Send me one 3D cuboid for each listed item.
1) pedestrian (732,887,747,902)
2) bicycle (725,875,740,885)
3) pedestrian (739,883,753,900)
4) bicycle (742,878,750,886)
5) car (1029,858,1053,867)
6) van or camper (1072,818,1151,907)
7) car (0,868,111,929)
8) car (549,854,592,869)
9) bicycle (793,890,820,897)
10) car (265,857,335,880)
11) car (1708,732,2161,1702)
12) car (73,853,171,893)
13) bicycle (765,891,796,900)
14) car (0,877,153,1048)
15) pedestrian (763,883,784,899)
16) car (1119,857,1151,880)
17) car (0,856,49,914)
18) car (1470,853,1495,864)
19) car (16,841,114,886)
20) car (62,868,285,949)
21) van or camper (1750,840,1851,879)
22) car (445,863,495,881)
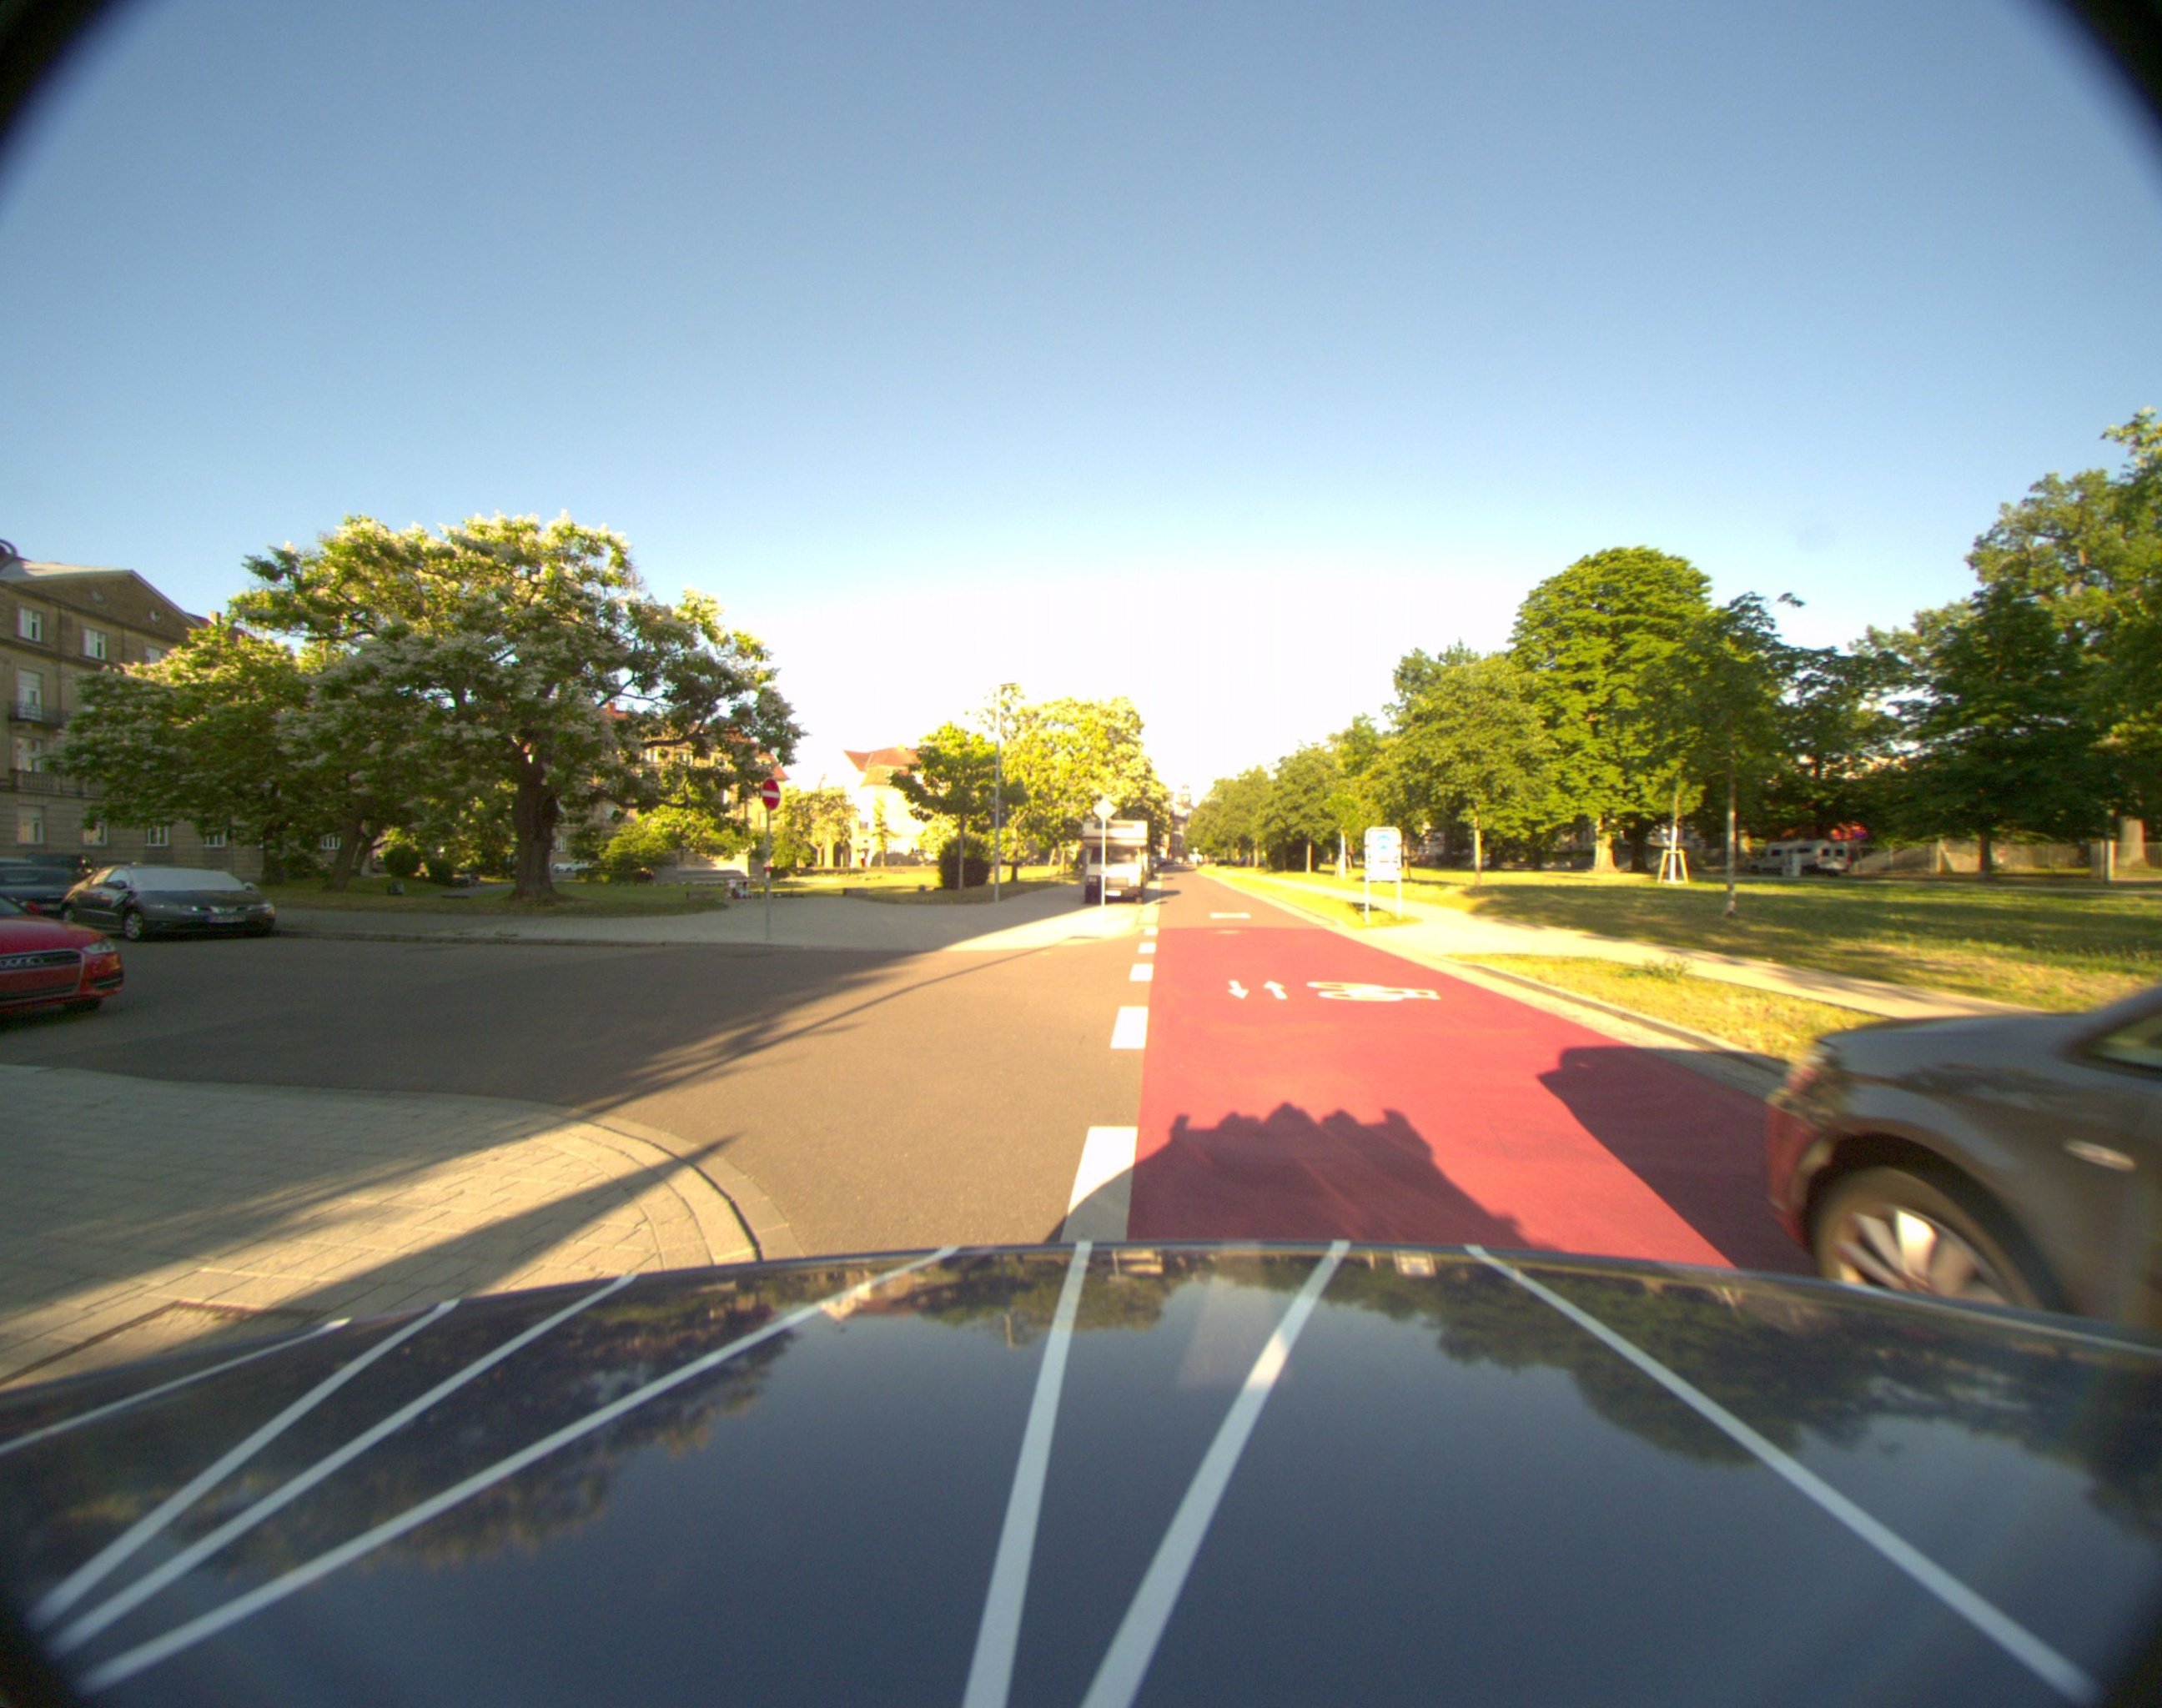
[{"bbox_3d":[-16.488,1.956,36.739,0.498,0.742,0.455,-1,0,2],"label":"pedestrian"},{"bbox_3d":[-25.994,1.936,56.681,0.907,0.648,0.438,-1,0,-33],"label":"bicycle"},{"bbox_3d":[-17.215,1.925,39.027,0.453,0.830,0.499,-1,0,39],"label":"pedestrian"},{"bbox_3d":[-25.223,2.082,57.183,0.488,0.579,0.438,-1,0,-33],"label":"bicycle"},{"bbox_3d":[-6.792,1.483,128.479,3.705,1.490,1.724,-1,0,-12],"label":"car"},{"bbox_3d":[1.236,0.257,27.293,2.426,2.766,5.954,2,1,5],"label":"van or camper"},{"bbox_3d":[-24.339,0.989,17.515,3.695,1.289,1.730,-1,-2,26],"label":"car"},{"bbox_3d":[-55.414,0.837,82.495,1.723,1.489,3.709,-1,-2,13],"label":"car"},{"bbox_3d":[-15.466,2.211,42.832,0.658,0.317,1.704,0,0,9],"label":"bicycle"},{"bbox_3d":[-53.332,1.025,51.988,1.727,1.489,3.700,0,-2,-16],"label":"car"},{"bbox_3d":[2.877,0.713,0.229,1.847,1.837,4.574,1,1,5],"label":"car"},{"bbox_3d":[-45.127,0.906,35.849,1.729,1.746,3.696,0,-2,-32],"label":"car"},{"bbox_3d":[-15.834,2.201,40.093,0.658,0.380,1.934,0,0,9],"label":"bicycle"},{"bbox_3d":[-11.282,0.990,6.956,4.040,1.412,1.790,-1,2,12],"label":"car"},{"bbox_3d":[-15.316,1.833,37.872,0.812,0.760,0.497,1,-1,-45],"label":"pedestrian"},{"bbox_3d":[3.731,0.983,52.037,1.998,1.501,4.002,-1,0,6],"label":"car"},{"bbox_3d":[-31.564,0.892,22.020,3.694,1.617,1.730,-1,-2,33],"label":"car"},{"bbox_3d":[55.983,0.676,106.025,1.796,1.455,4.002,-1,0,6],"label":"car"},{"bbox_3d":[-41.502,0.418,31.137,1.730,1.746,3.694,1,-2,-42],"label":"car"},{"bbox_3d":[-17.875,1.016,14.972,3.990,1.419,1.729,-1,-2,23],"label":"car"},{"bbox_3d":[49.961,0.377,52.954,1.998,2.425,5.469,-3,0,5],"label":"van or camper"},{"bbox_3d":[-57.826,1.676,71.975,1.776,1.574,3.998,-1,0,-5],"label":"car"}]
